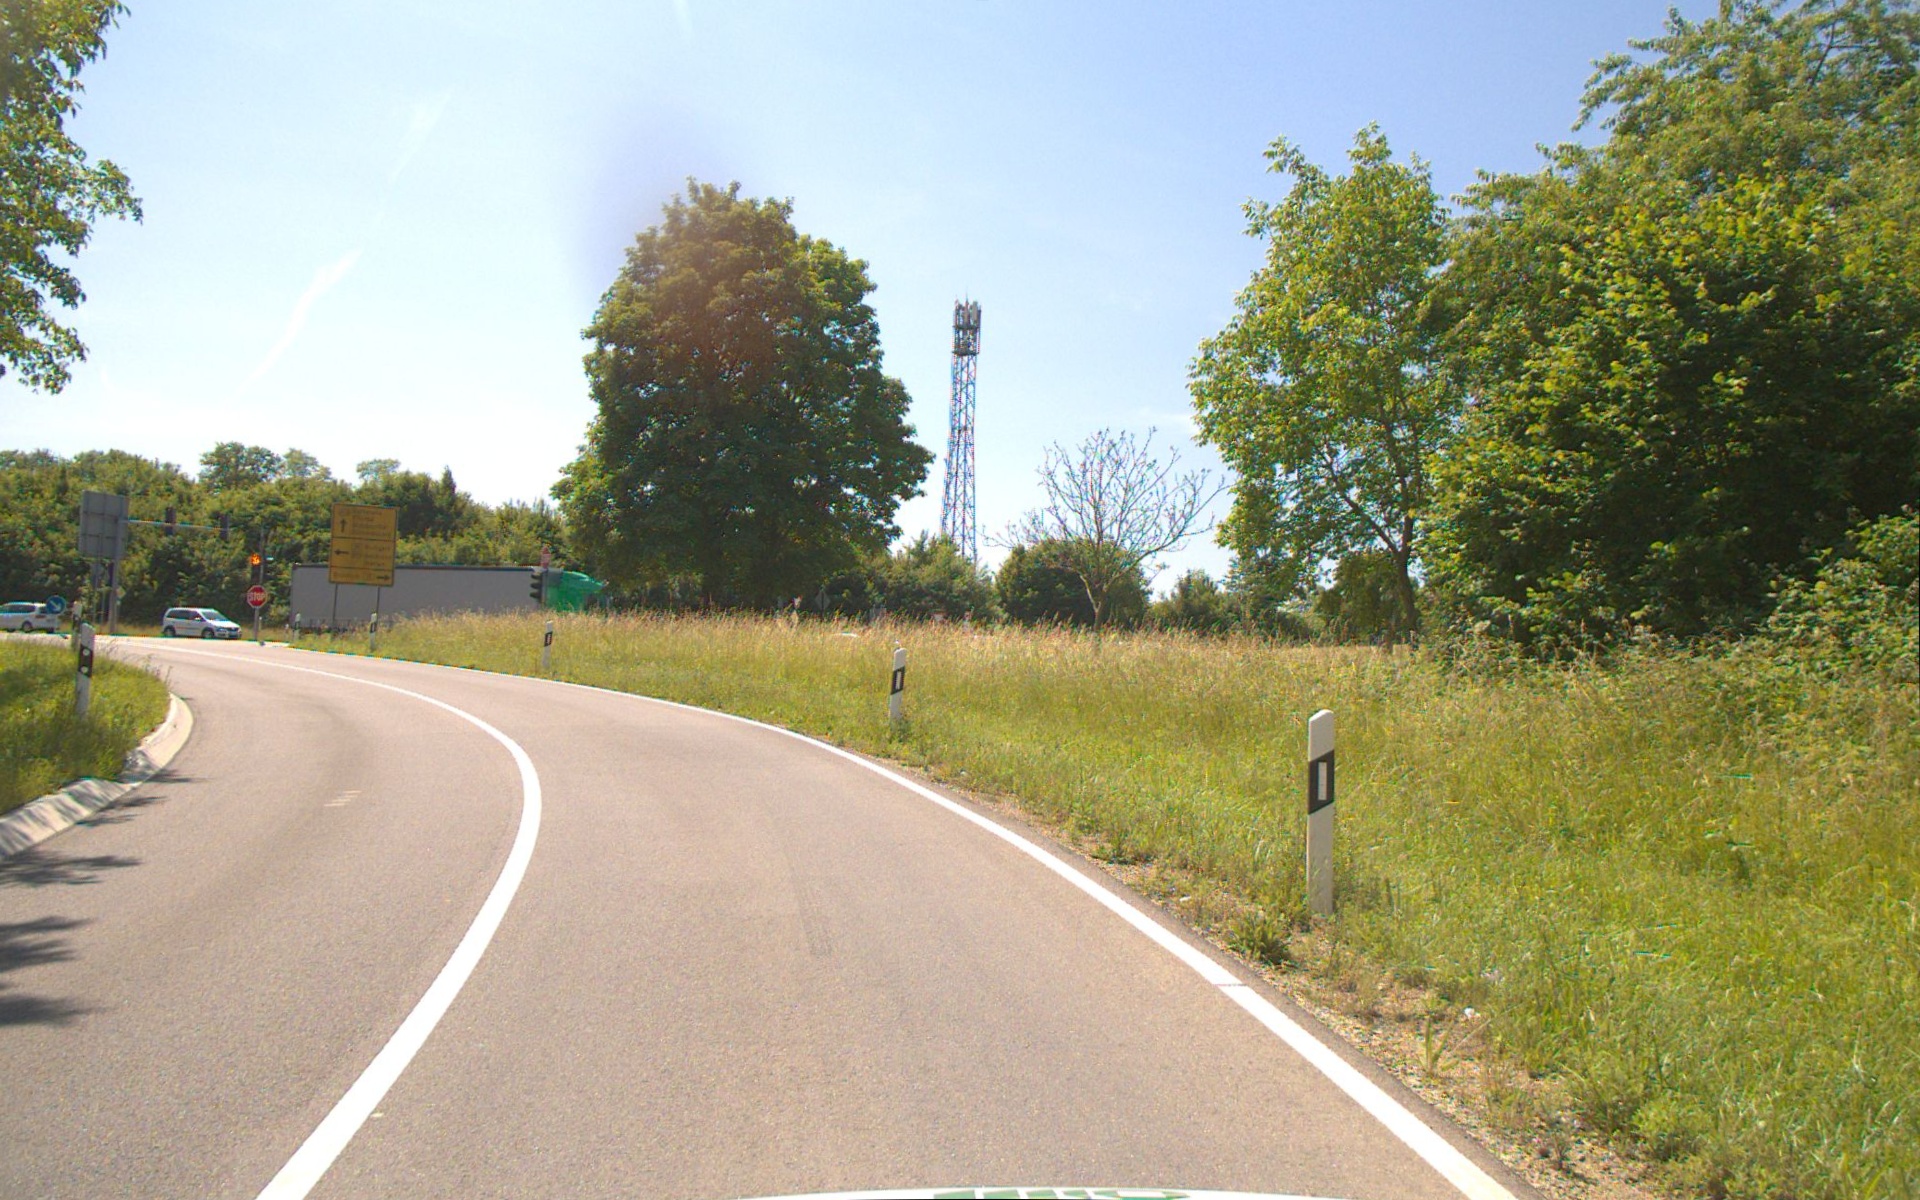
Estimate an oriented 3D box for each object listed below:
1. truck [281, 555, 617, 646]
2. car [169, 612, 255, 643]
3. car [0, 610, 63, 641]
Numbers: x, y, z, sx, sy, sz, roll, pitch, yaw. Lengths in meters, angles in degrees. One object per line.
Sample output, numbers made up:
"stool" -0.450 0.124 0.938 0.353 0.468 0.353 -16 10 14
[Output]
"truck" -25.088 0.000 81.156 16.276 4.246 3.138 1 -1 13
"car" -38.550 1.404 85.287 3.601 1.603 1.726 0 0 3
"car" -53.474 1.465 94.658 3.568 1.735 1.631 -1 1 14
